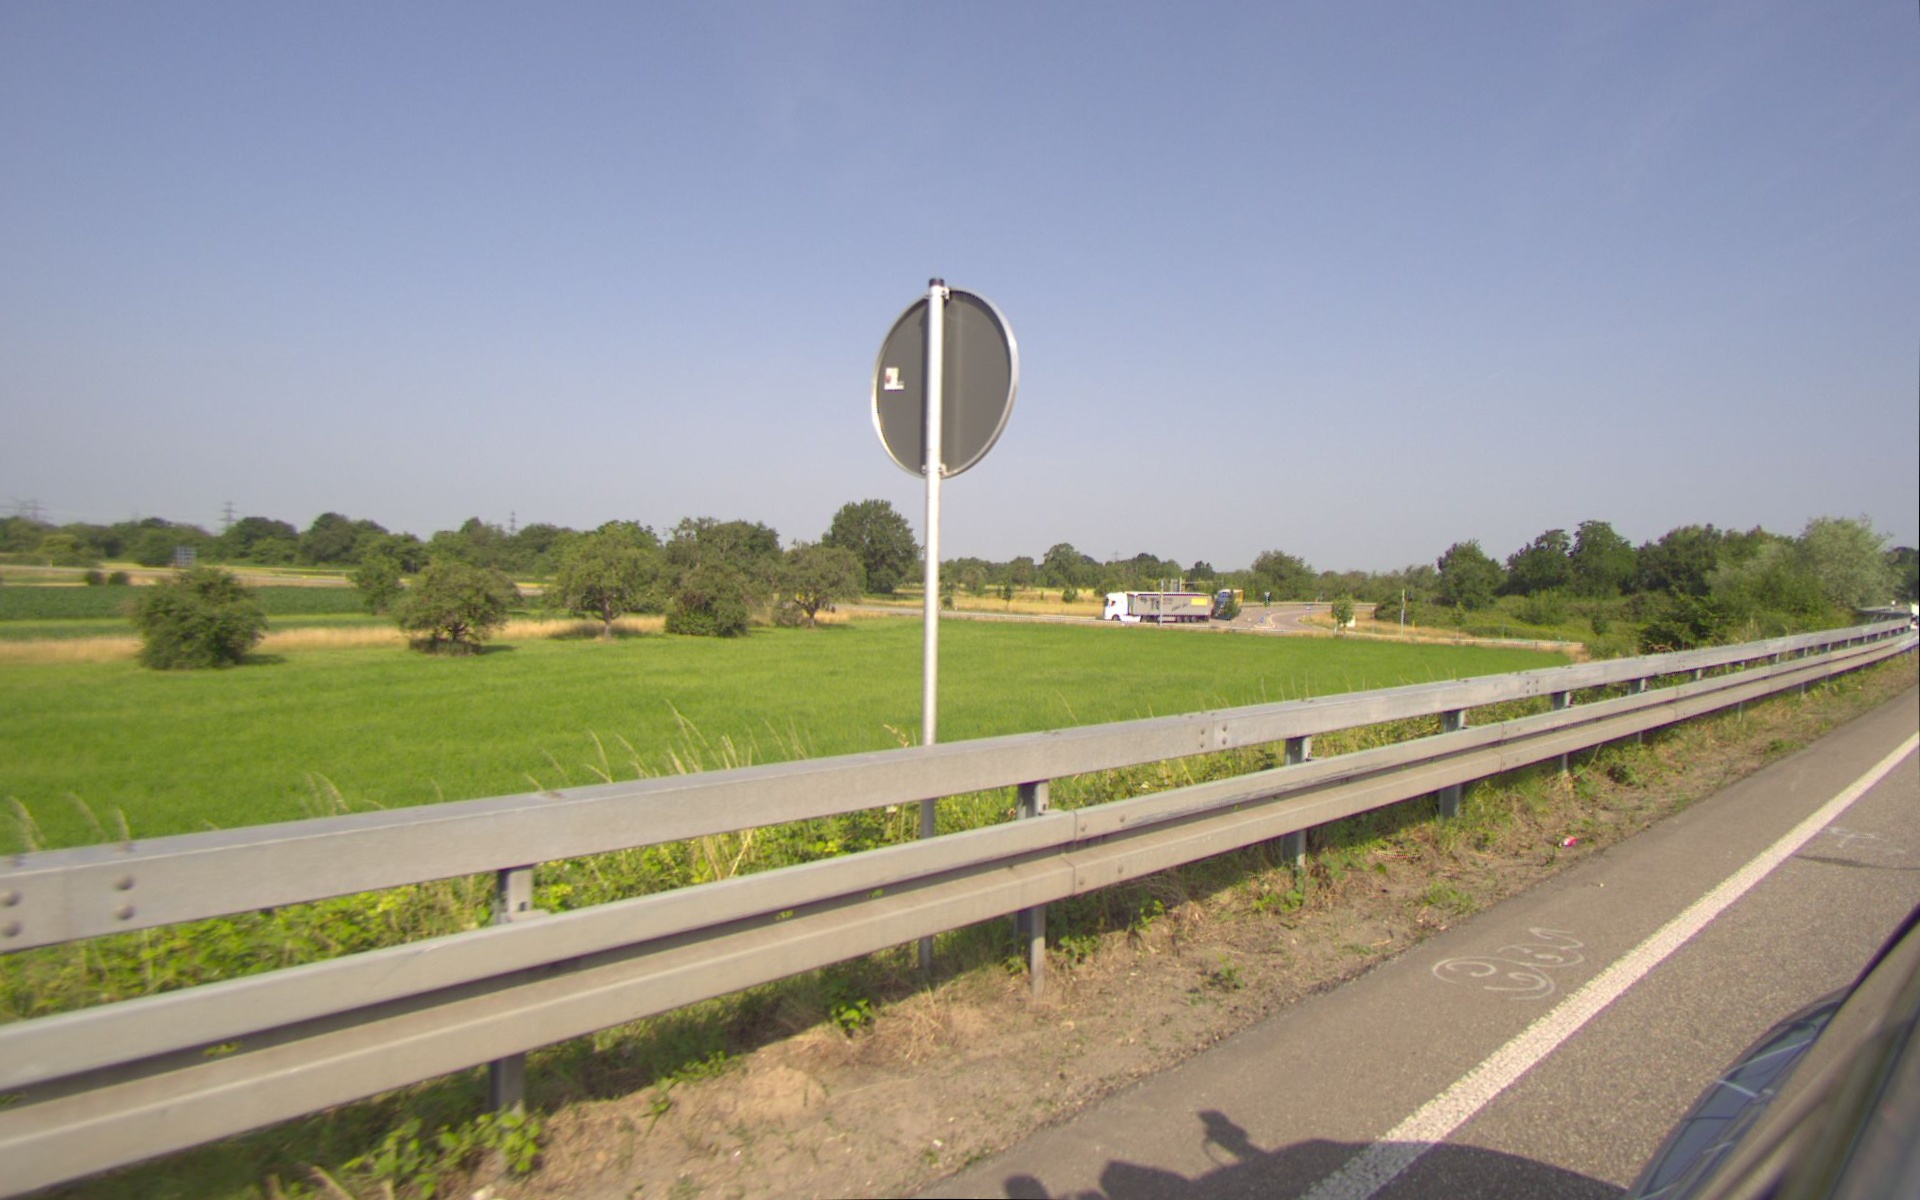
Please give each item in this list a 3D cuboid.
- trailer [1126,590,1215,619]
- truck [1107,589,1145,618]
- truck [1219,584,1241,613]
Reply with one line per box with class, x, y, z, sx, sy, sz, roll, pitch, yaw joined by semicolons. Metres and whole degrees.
trailer;29.008;0.678;139.097;13.644;3.698;2.112;1;1;-27
truck;22.349;0.488;136.645;4.860;3.724;2.104;2;1;8
truck;40.254;-0.255;150.828;2.238;4.221;4.335;2;1;24
